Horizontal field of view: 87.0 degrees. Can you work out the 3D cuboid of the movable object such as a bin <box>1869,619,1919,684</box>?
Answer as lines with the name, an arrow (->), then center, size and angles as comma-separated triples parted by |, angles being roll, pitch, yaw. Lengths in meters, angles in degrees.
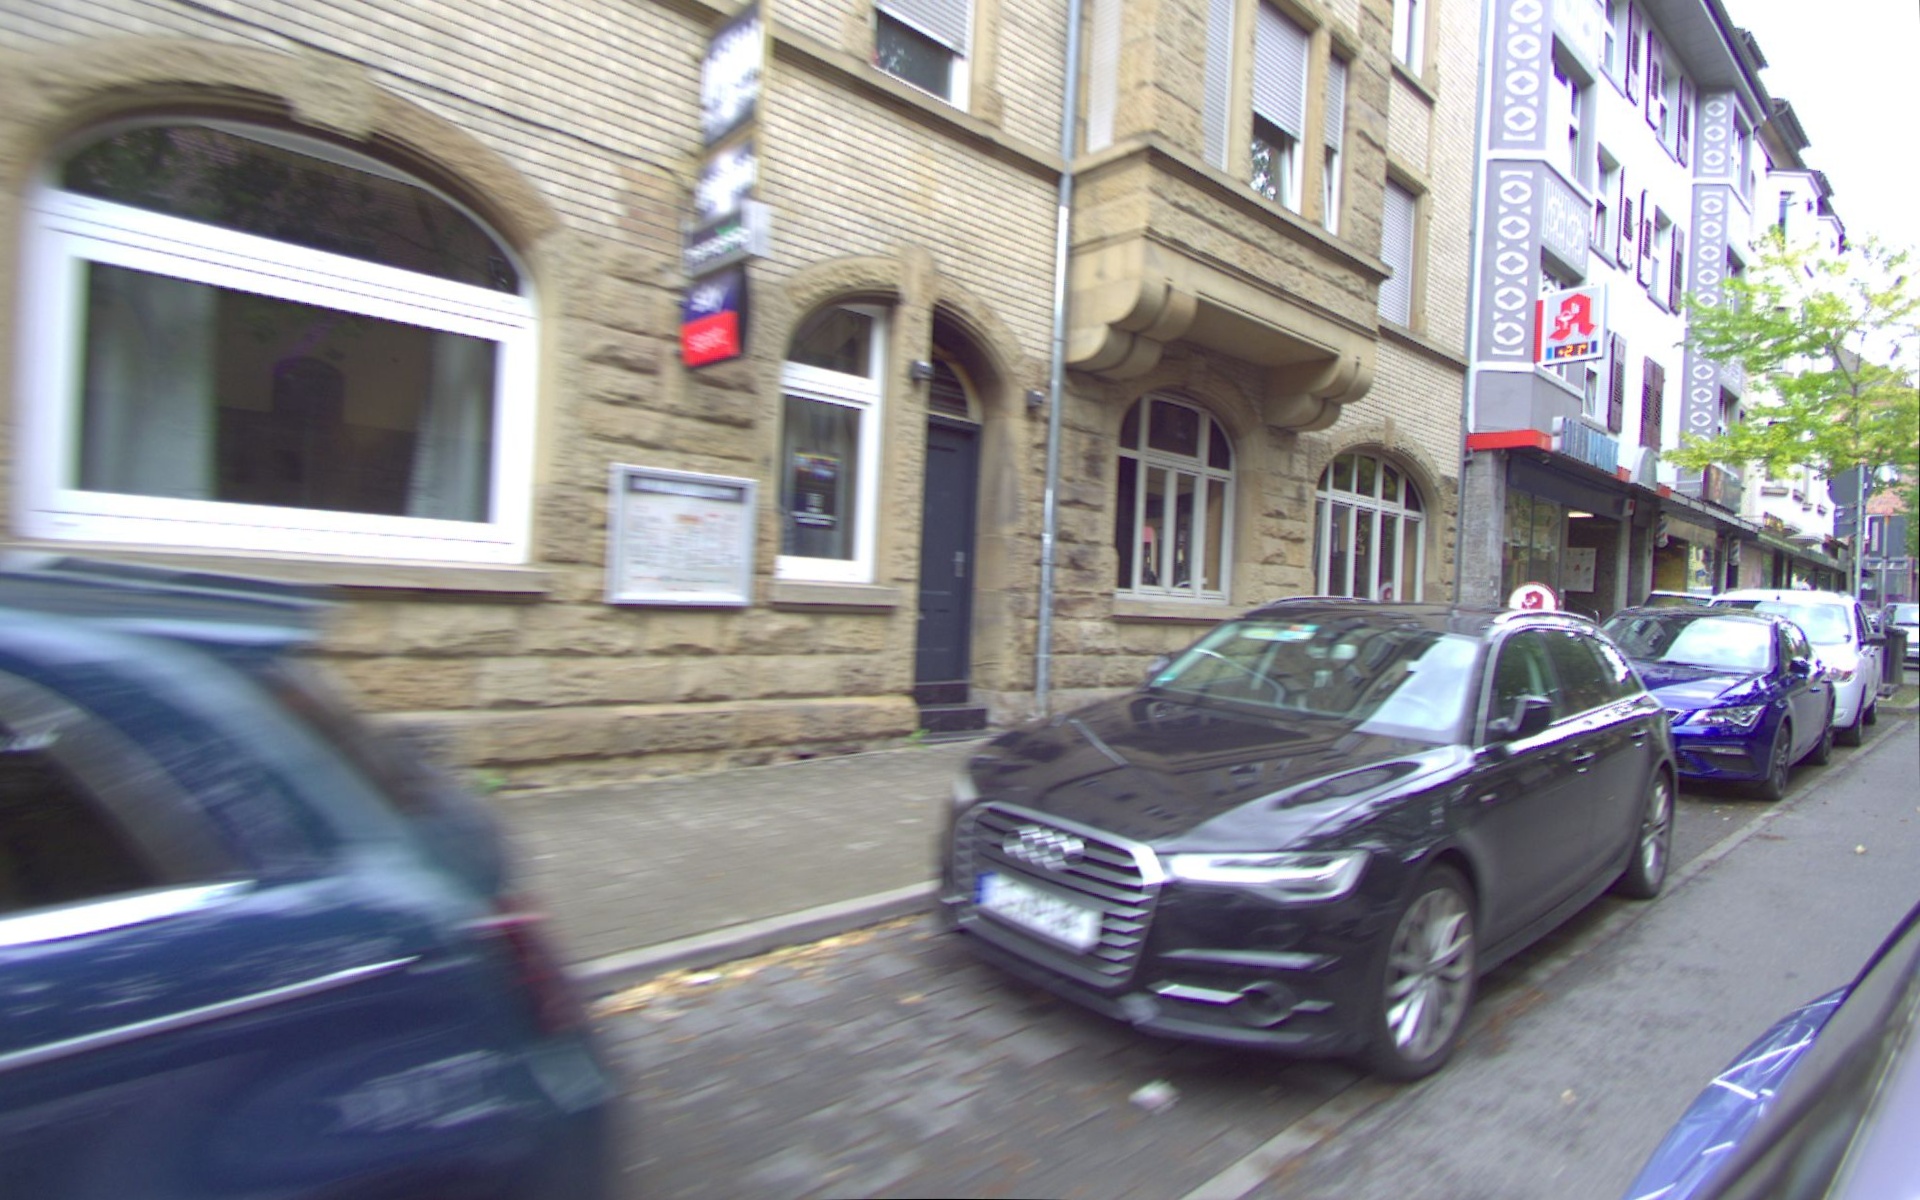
movable object such as a bin -> 15.970, 0.861, 17.273 | 0.621, 1.037, 0.686 | 2, 1, 41

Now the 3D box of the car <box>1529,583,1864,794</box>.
car -> 6.808, 0.613, 9.171 | 4.203, 1.414, 1.608 | 0, 4, -43

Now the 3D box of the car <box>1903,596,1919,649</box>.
car -> 27.931, 0.661, 28.430 | 3.972, 1.433, 1.686 | 0, 3, -42

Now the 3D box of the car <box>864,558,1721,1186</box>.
car -> 1.954, 0.632, 4.713 | 4.696, 1.480, 1.741 | 0, 3, -44

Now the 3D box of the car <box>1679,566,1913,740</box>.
car -> 10.261, 0.504, 12.292 | 4.470, 1.683, 1.680 | 0, 3, -45

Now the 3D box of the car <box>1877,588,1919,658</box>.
car -> 23.139, 0.556, 24.099 | 3.460, 1.553, 1.485 | 1, 3, -41

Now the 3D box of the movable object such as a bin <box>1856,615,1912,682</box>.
movable object such as a bin -> 15.192, 0.779, 16.640 | 0.685, 1.037, 0.622 | 0, 1, -44

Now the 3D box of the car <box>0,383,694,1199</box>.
car -> -2.306, 0.547, 1.063 | 3.590, 1.630, 1.568 | 0, 2, -41
